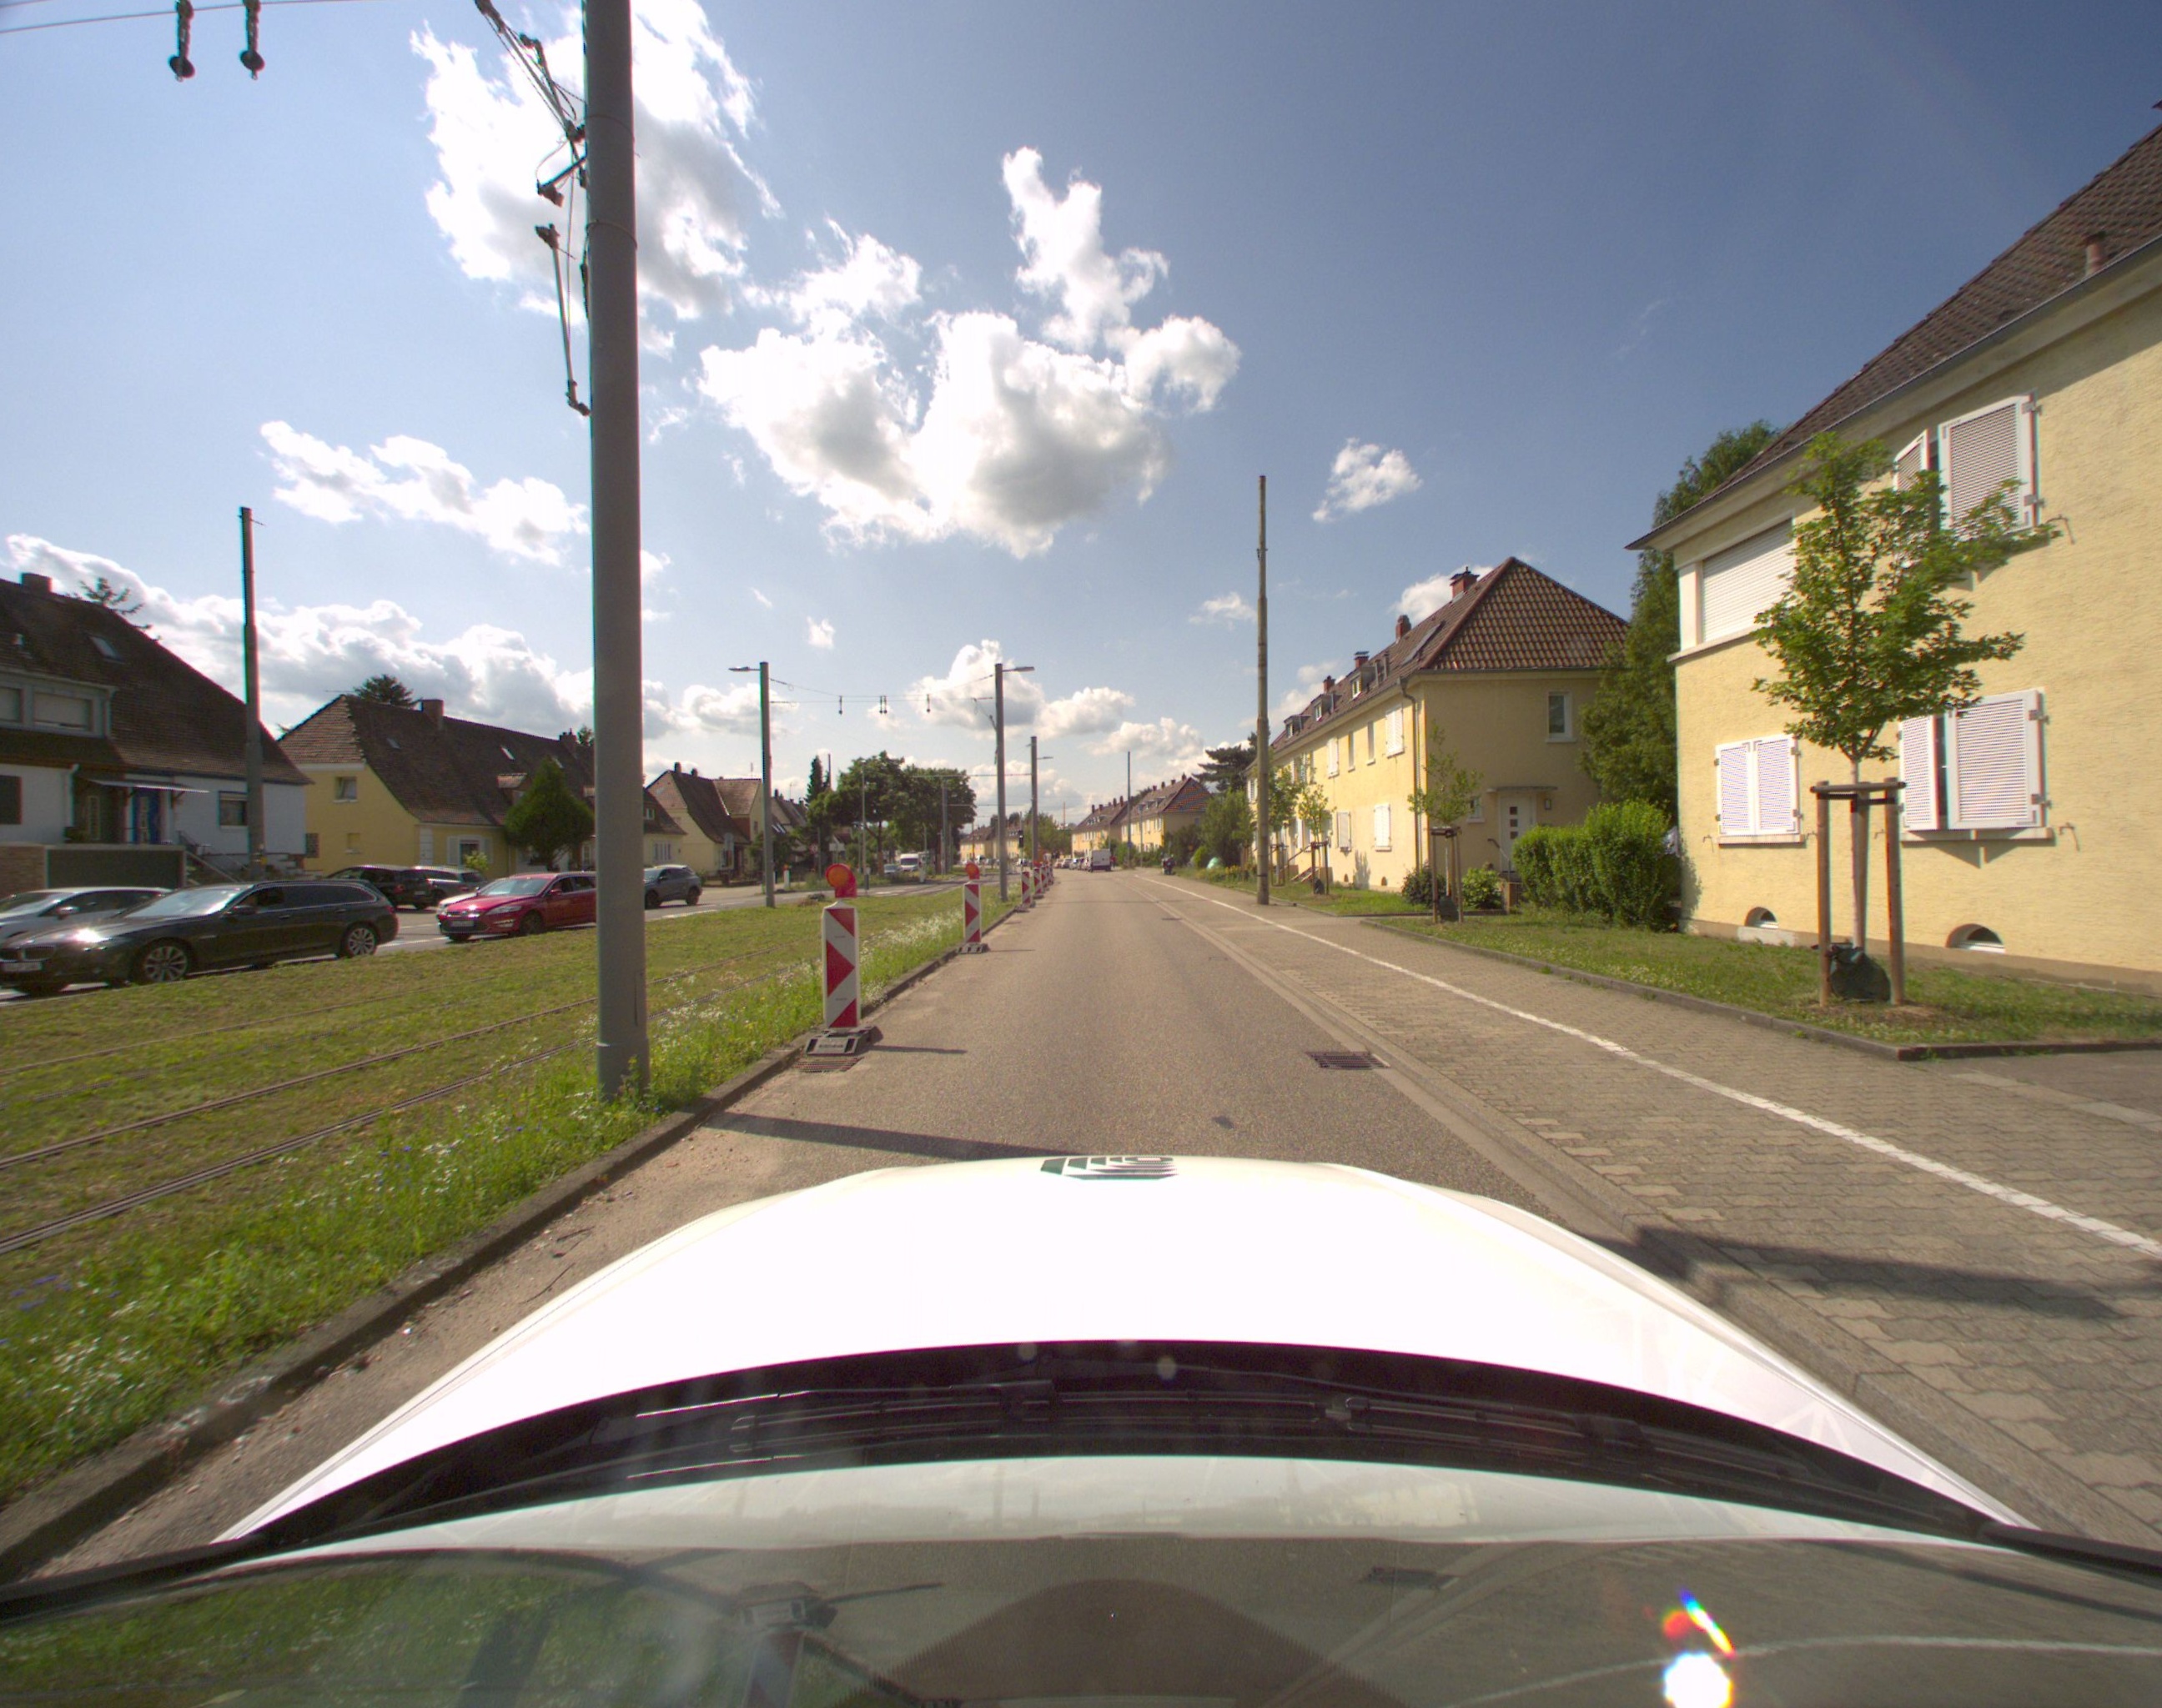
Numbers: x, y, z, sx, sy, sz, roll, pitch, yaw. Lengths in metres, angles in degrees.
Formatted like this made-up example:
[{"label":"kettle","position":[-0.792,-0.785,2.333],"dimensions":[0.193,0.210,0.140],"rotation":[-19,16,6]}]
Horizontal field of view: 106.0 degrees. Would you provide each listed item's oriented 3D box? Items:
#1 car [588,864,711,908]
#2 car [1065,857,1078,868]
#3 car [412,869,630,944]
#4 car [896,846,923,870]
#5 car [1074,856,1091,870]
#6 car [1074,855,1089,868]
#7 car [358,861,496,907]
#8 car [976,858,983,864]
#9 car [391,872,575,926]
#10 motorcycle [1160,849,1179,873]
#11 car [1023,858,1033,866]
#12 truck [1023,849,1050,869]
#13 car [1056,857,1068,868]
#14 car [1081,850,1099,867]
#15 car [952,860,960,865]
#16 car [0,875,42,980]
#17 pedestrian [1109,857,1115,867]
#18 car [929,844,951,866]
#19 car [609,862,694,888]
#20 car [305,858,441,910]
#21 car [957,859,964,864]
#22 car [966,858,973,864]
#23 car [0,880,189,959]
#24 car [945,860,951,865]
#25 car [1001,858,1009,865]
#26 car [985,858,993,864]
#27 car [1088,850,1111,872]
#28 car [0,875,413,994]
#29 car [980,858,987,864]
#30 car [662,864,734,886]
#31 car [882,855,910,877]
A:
[{"label":"car","position":[-16.615,1.177,31.706],"dimensions":[1.834,1.534,4.747],"rotation":[-1,0,6]},{"label":"car","position":[-1.373,1.209,114.003],"dimensions":[1.565,1.551,3.471],"rotation":[-1,0,-6]},{"label":"car","position":[-13.280,1.156,19.768],"dimensions":[1.837,1.494,4.857],"rotation":[-1,0,1]},{"label":"car","position":[-17.248,0.435,82.133],"dimensions":[2.406,2.338,4.863],"rotation":[-1,0,-9]},{"label":"car","position":[0.144,1.036,96.356],"dimensions":[1.565,1.551,3.781],"rotation":[-1,0,-6]},{"label":"car","position":[0.042,0.926,102.340],"dimensions":[1.565,1.551,3.781],"rotation":[-1,0,-6]},{"label":"car","position":[-25.649,1.149,32.017],"dimensions":[3.941,1.491,1.603],"rotation":[4,-1,-1]},{"label":"car","position":[-25.120,1.721,200.893],"dimensions":[1.170,1.426,2.647],"rotation":[-1,0,-20]},{"label":"car","position":[-17.749,1.276,24.531],"dimensions":[1.836,1.343,4.781],"rotation":[-1,0,3]},{"label":"motorcycle","position":[6.028,0.481,55.666],"dimensions":[1.063,1.635,2.083],"rotation":[-1,0,0]},{"label":"car","position":[-10.222,1.525,156.480],"dimensions":[1.260,1.426,2.651],"rotation":[-1,0,-16]},{"label":"truck","position":[-7.938,0.883,143.837],"dimensions":[2.646,3.494,9.387],"rotation":[-1,0,-16]},{"label":"car","position":[-2.850,1.272,120.423],"dimensions":[1.565,1.551,3.471],"rotation":[-1,0,-6]},{"label":"car","position":[1.029,0.528,91.423],"dimensions":[1.565,1.897,3.781],"rotation":[-1,0,-6]},{"label":"car","position":[-34.585,2.279,225.578],"dimensions":[1.264,1.426,2.642],"rotation":[-1,0,-27]},{"label":"car","position":[-18.182,1.191,11.254],"dimensions":[1.837,1.669,4.505],"rotation":[-1,0,0]},{"label":"pedestrian","position":[3.841,1.010,101.990],"dimensions":[0.632,1.255,0.725],"rotation":[-1,-1,-8]},{"label":"car","position":[-16.363,0.102,94.541],"dimensions":[2.406,2.370,4.863],"rotation":[-1,0,-9]},{"label":"car","position":[-26.158,1.283,49.686],"dimensions":[4.093,1.466,1.991],"rotation":[-1,0,0]},{"label":"car","position":[-25.636,1.055,29.564],"dimensions":[3.375,1.594,1.603],"rotation":[4,-1,-1]},{"label":"car","position":[-32.370,2.003,218.673],"dimensions":[1.263,1.426,2.645],"rotation":[-1,0,-23]},{"label":"car","position":[-28.999,1.778,211.276],"dimensions":[1.262,1.426,2.647],"rotation":[-1,0,-21]},{"label":"car","position":[-21.233,1.317,17.099],"dimensions":[1.561,1.419,3.087],"rotation":[-1,0,1]},{"label":"car","position":[-37.737,2.412,231.245],"dimensions":[1.263,1.142,2.645],"rotation":[-1,0,-23]},{"label":"car","position":[-16.462,1.580,176.445],"dimensions":[1.260,1.426,2.650],"rotation":[-1,0,-17]},{"label":"car","position":[-21.731,1.721,192.444],"dimensions":[1.261,1.350,2.648],"rotation":[-1,0,-19]},{"label":"car","position":[1.831,0.702,81.709],"dimensions":[2.060,2.149,4.875],"rotation":[-1,0,-2]},{"label":"car","position":[-13.589,1.110,12.960],"dimensions":[1.837,1.413,4.915],"rotation":[-1,0,0]},{"label":"car","position":[-23.617,1.724,196.700],"dimensions":[1.170,1.426,2.647],"rotation":[-1,0,-20]},{"label":"car","position":[-25.253,1.359,53.776],"dimensions":[3.974,1.398,1.704],"rotation":[0,0,0]},{"label":"car","position":[-16.057,1.017,70.853],"dimensions":[2.094,1.776,4.107],"rotation":[-1,0,-9]}]
